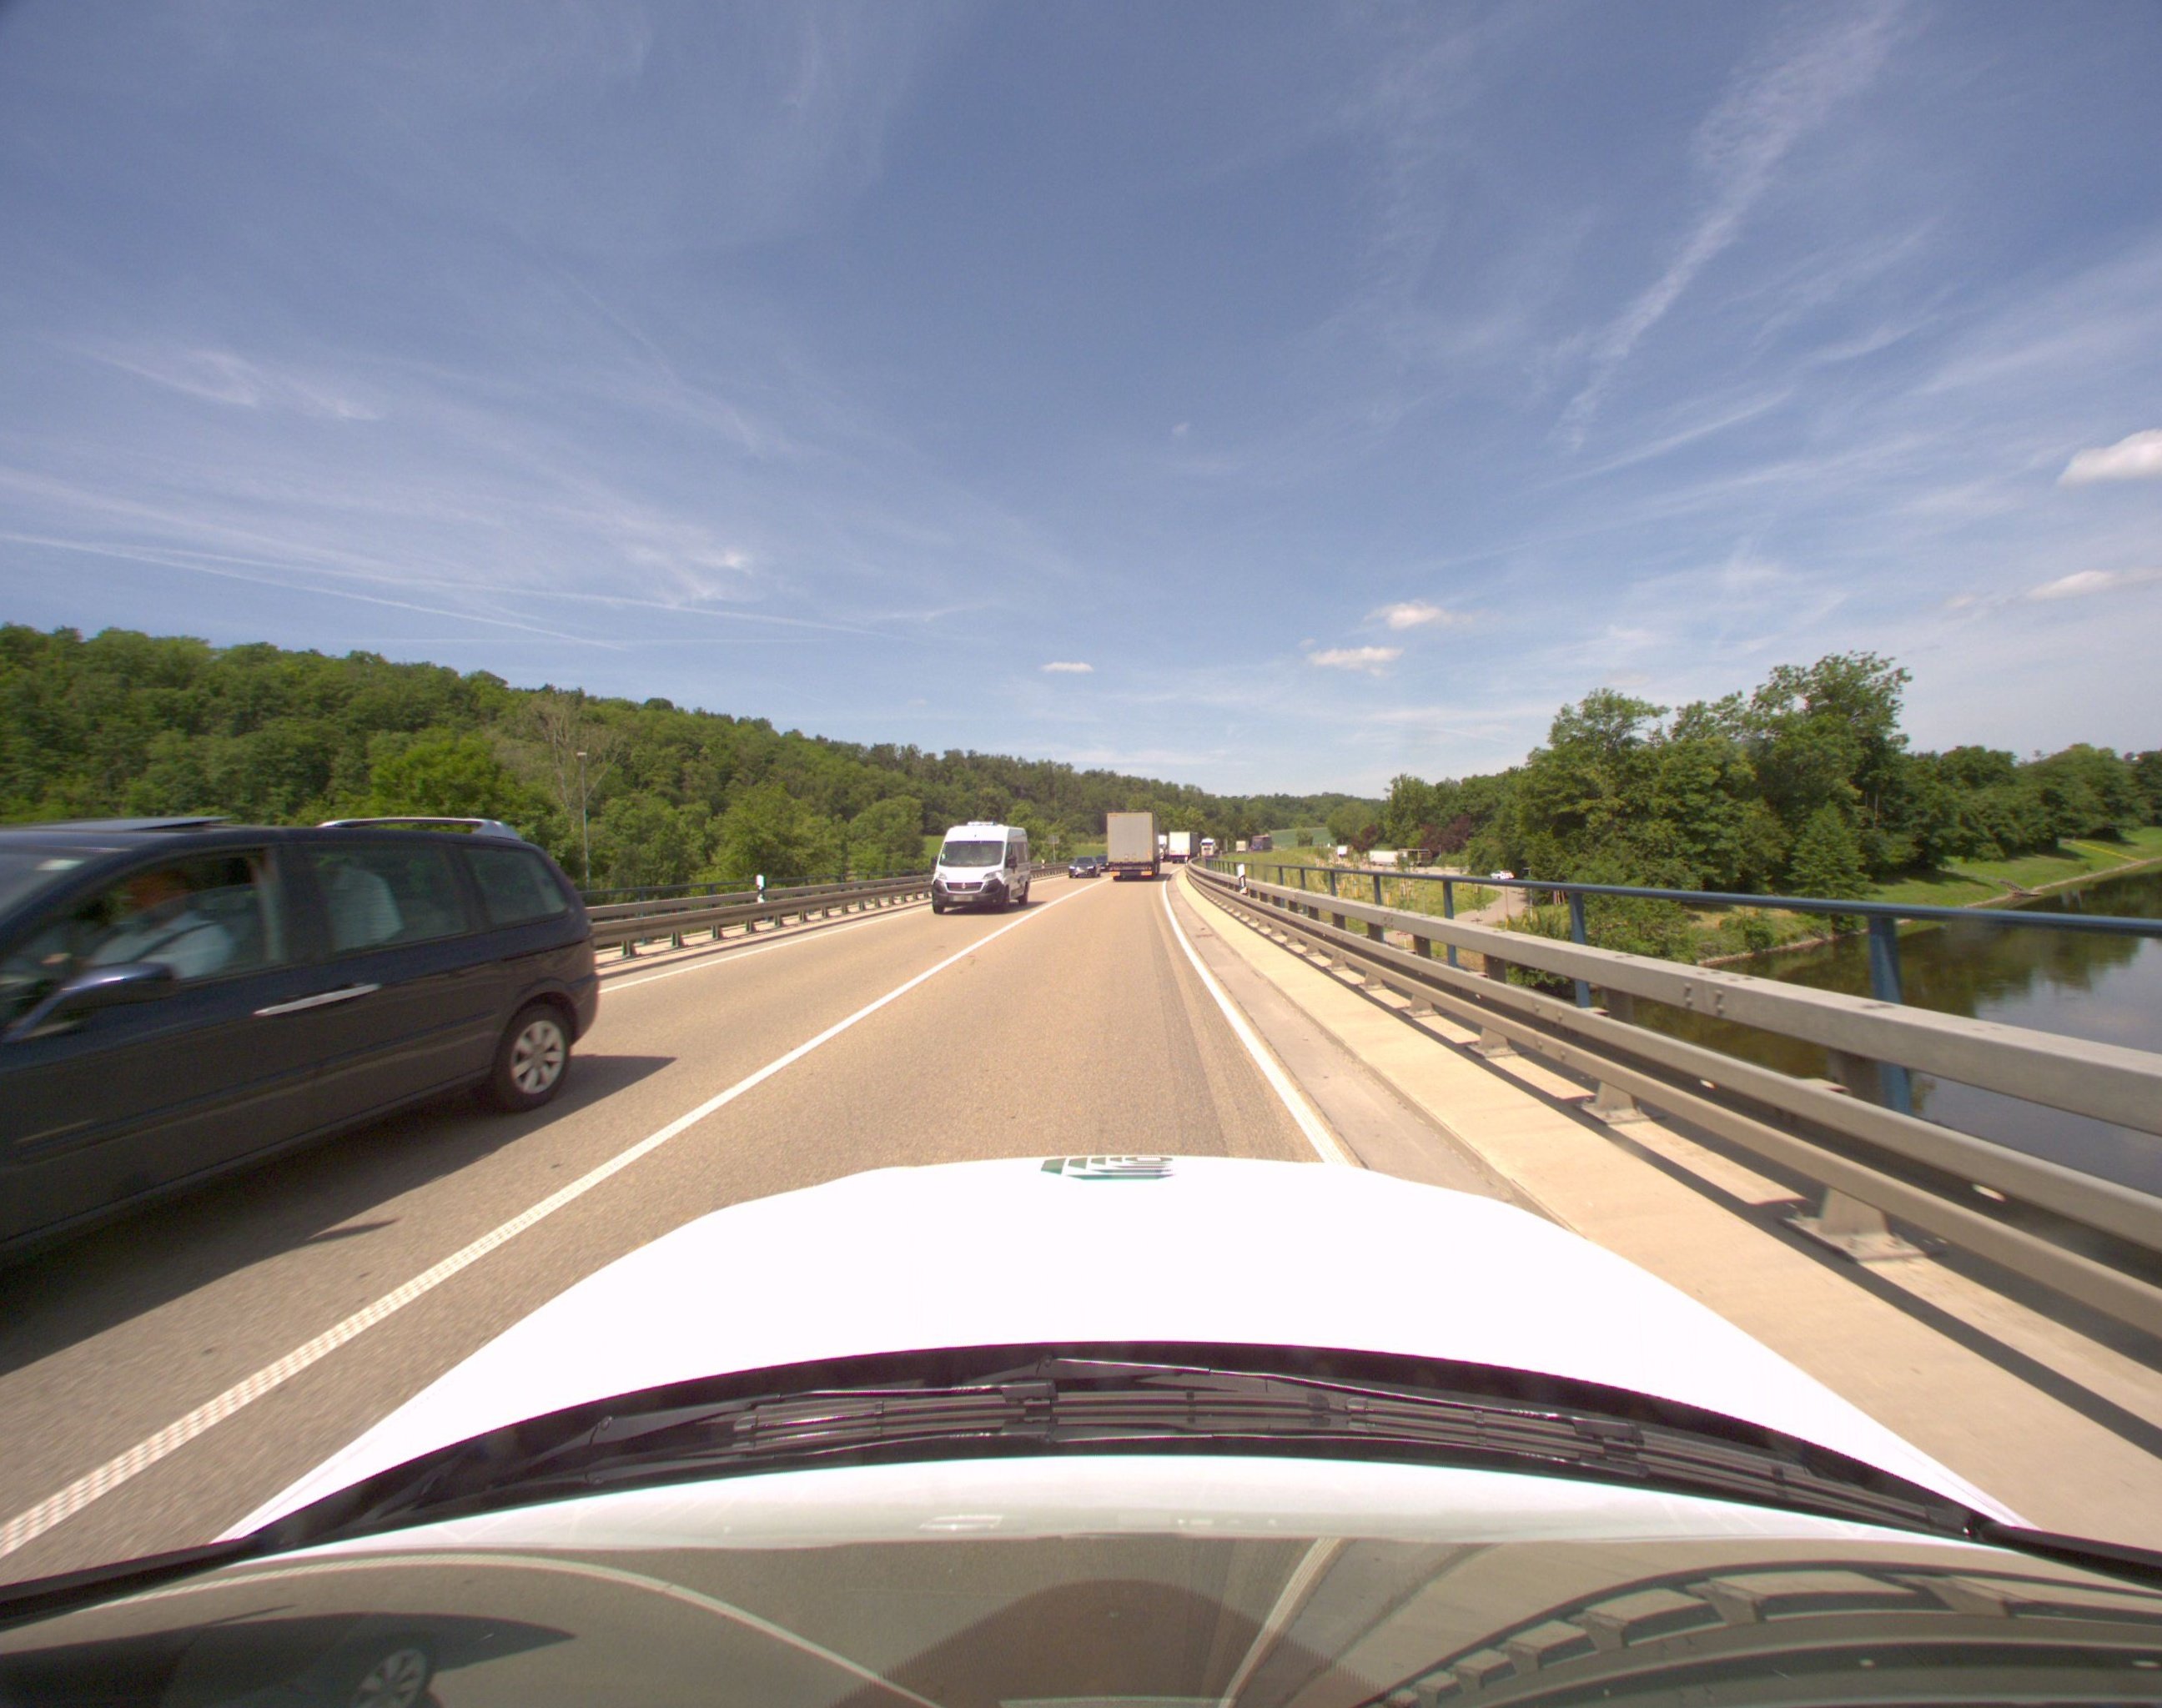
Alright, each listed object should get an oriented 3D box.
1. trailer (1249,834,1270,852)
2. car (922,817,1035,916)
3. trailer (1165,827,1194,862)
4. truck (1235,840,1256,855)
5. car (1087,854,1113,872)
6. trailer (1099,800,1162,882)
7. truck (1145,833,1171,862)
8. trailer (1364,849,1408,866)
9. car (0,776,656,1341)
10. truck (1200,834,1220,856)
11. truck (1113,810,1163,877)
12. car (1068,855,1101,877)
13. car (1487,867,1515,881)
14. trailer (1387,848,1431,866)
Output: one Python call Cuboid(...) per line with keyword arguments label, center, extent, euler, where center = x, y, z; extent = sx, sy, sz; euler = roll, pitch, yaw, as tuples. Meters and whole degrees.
Cuboid(label="trailer", center=(45.669, -2.736, 207.807), extent=(3.617, 4.263, 12.256), euler=(-1, 0, 20))
Cuboid(label="car", center=(-2.859, 0.323, 24.250), extent=(2.169, 2.559, 5.804), euler=(-1, 0, 5))
Cuboid(label="trailer", center=(13.089, -1.166, 106.819), extent=(3.346, 4.317, 13.897), euler=(-1, 0, 8))
Cuboid(label="truck", center=(37.748, -1.462, 186.574), extent=(3.197, 3.365, 11.930), euler=(-1, 0, 18))
Cuboid(label="car", center=(1.649, 0.716, 69.913), extent=(1.711, 1.482, 4.579), euler=(-1, 0, 7))
Cuboid(label="trailer", center=(3.405, -0.701, 51.817), extent=(3.102, 4.500, 13.912), euler=(-1, 0, 7))
Cuboid(label="truck", center=(11.041, -0.928, 115.839), extent=(2.897, 3.803, 9.733), euler=(-1, 0, 9))
Cuboid(label="trailer", center=(64.878, 0.696, 173.608), extent=(2.721, 3.327, 11.842), euler=(-1, 1, -13))
Cuboid(label="car", center=(-4.307, 0.662, 3.755), extent=(1.845, 1.798, 4.981), euler=(-1, 0, 3))
Cuboid(label="truck", center=(26.707, -1.761, 167.841), extent=(3.038, 4.263, 9.907), euler=(-1, 0, 15))
Cuboid(label="truck", center=(4.174, -0.695, 58.227), extent=(3.101, 4.494, 6.826), euler=(-1, 0, 8))
Cuboid(label="car", center=(0.285, 0.781, 55.071), extent=(1.711, 1.435, 4.626), euler=(-1, 0, 7))
Cuboid(label="car", center=(57.951, 2.739, 112.363), extent=(1.848, 1.482, 4.616), euler=(-5, 0, 6))
Cuboid(label="trailer", center=(68.596, 0.541, 170.677), extent=(2.720, 3.606, 11.851), euler=(0, 1, -11))
